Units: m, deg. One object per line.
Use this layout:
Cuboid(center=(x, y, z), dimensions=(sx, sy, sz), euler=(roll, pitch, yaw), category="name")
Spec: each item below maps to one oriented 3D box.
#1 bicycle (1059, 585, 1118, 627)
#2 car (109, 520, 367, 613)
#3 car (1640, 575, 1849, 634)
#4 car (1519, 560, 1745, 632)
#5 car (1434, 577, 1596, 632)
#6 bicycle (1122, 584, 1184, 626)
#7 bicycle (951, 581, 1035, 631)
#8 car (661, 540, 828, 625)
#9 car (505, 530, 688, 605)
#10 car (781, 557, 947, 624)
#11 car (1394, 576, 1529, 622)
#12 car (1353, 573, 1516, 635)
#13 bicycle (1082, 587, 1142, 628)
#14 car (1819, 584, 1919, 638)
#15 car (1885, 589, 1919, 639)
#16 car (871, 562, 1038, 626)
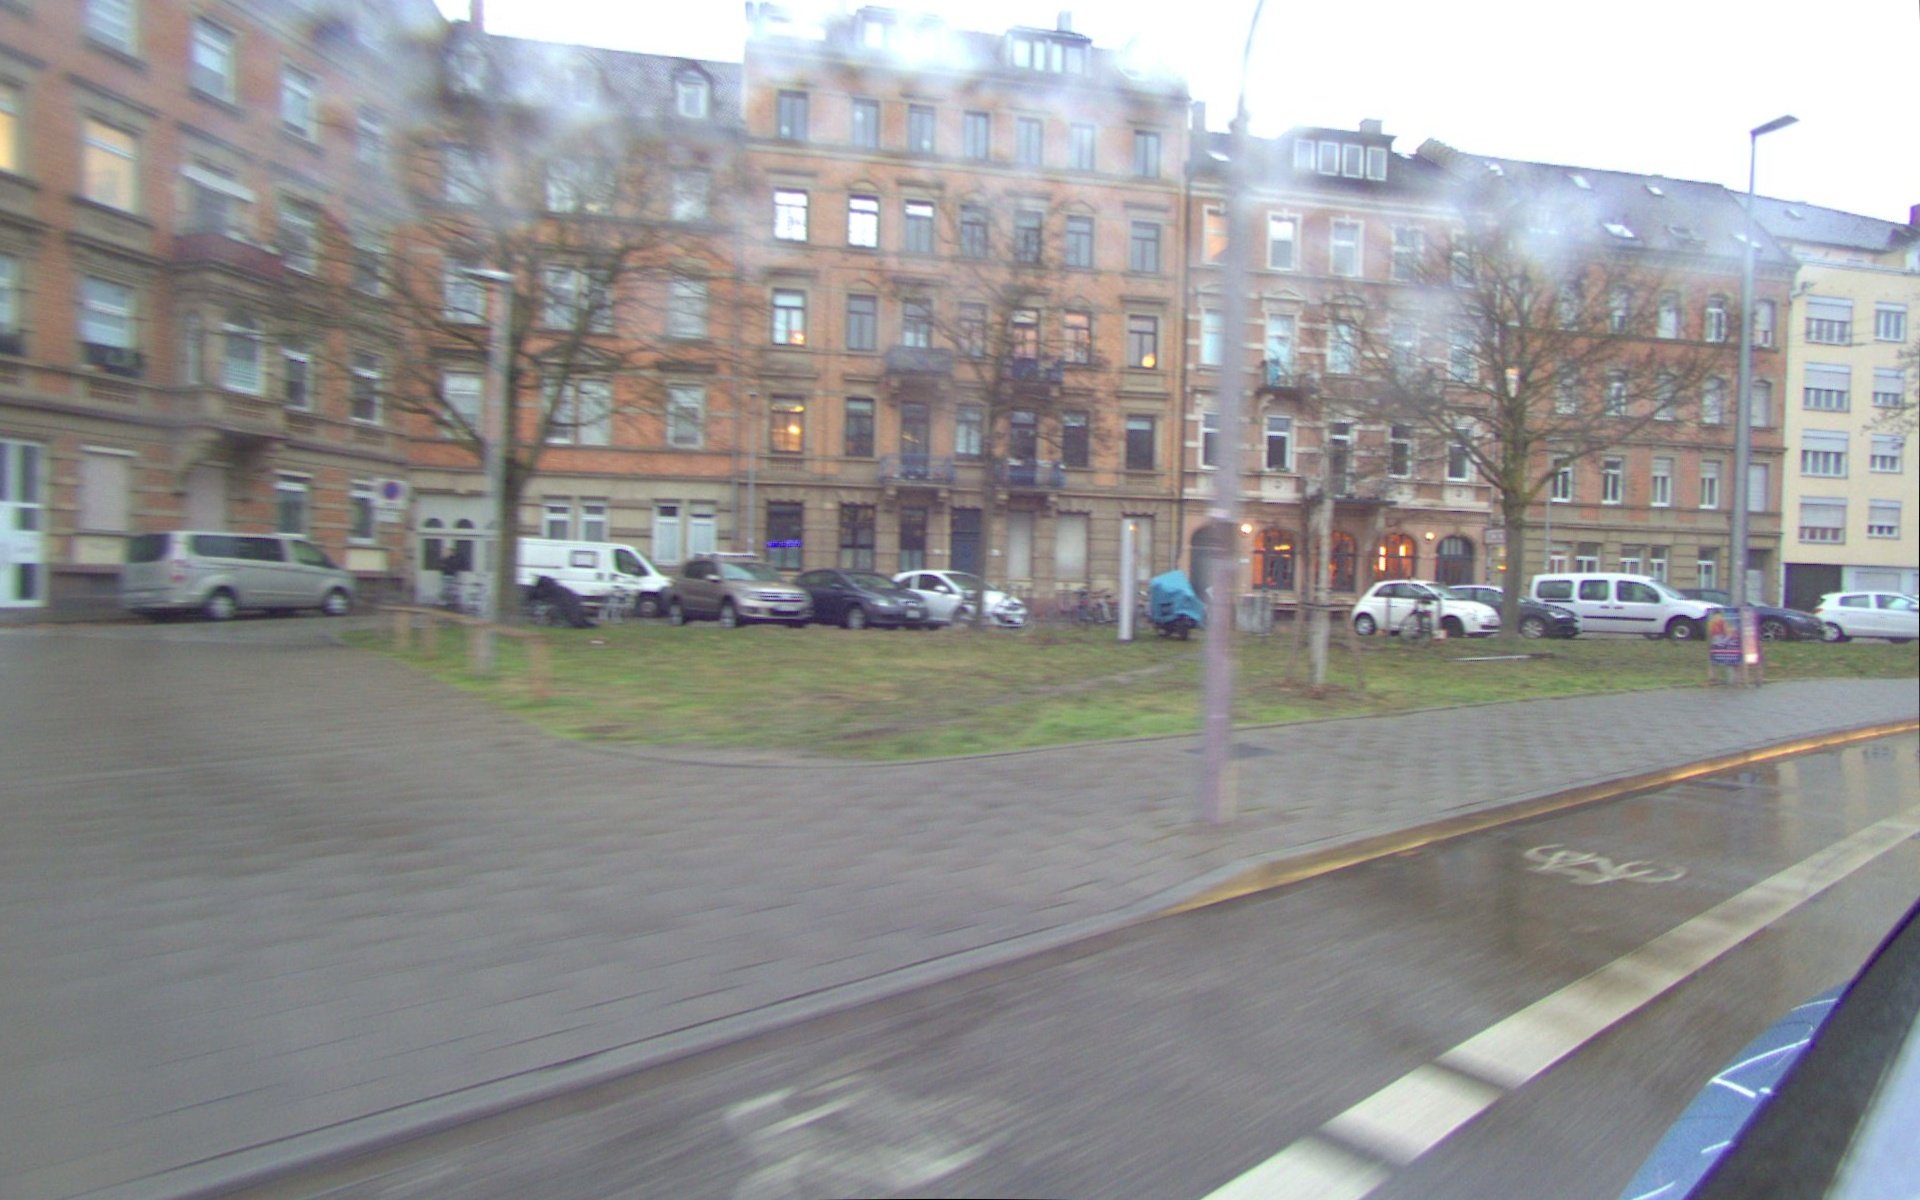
Cuboid(center=(3.220, 0.148, 25.520), dimensions=(0.613, 0.978, 2.175), euler=(3, -1, -17), category="bicycle")
Cuboid(center=(-16.659, -0.672, 23.706), dimensions=(1.973, 1.943, 4.722), euler=(-1, -1, 17), category="car")
Cuboid(center=(20.735, 0.096, 26.892), dimensions=(1.738, 1.250, 4.062), euler=(2, 3, -39), category="car")
Cuboid(center=(17.730, -0.159, 26.890), dimensions=(1.746, 1.611, 4.658), euler=(0, 3, -41), category="car")
Cuboid(center=(14.637, 0.093, 26.777), dimensions=(1.636, 1.368, 3.426), euler=(1, 0, -42), category="car")
Cuboid(center=(4.891, 0.118, 25.828), dimensions=(0.613, 0.978, 2.176), euler=(1, 2, -17), category="bicycle")
Cuboid(center=(0.677, 0.112, 20.569), dimensions=(1.626, 0.948, 0.513), euler=(2, 1, 11), category="bicycle")
Cuboid(center=(-4.795, -0.447, 22.197), dimensions=(1.910, 1.656, 3.996), euler=(-1, 3, -40), category="car")
Cuboid(center=(-10.572, -0.948, 29.821), dimensions=(4.882, 2.038, 2.005), euler=(1, 2, -14), category="car")
Cuboid(center=(-2.205, -0.207, 22.582), dimensions=(3.732, 1.372, 1.651), euler=(1, -1, 44), category="car")
Cuboid(center=(17.326, -0.015, 35.037), dimensions=(3.966, 1.520, 1.740), euler=(1, -1, -13), category="car")
Cuboid(center=(12.085, 0.101, 25.919), dimensions=(1.585, 1.461, 3.464), euler=(1, 0, -38), category="car")
Cuboid(center=(3.844, 0.174, 25.808), dimensions=(0.613, 0.978, 2.175), euler=(3, -1, -17), category="bicycle")
Cuboid(center=(26.505, 0.310, 28.067), dimensions=(1.728, 1.451, 3.773), euler=(1, -1, -36), category="car")
Cuboid(center=(28.844, 0.396, 28.580), dimensions=(3.986, 1.433, 1.616), euler=(-1, -1, 44), category="car")
Cuboid(center=(-0.186, -0.171, 23.658), dimensions=(3.848, 1.353, 1.671), euler=(2, 1, 45), category="car")
